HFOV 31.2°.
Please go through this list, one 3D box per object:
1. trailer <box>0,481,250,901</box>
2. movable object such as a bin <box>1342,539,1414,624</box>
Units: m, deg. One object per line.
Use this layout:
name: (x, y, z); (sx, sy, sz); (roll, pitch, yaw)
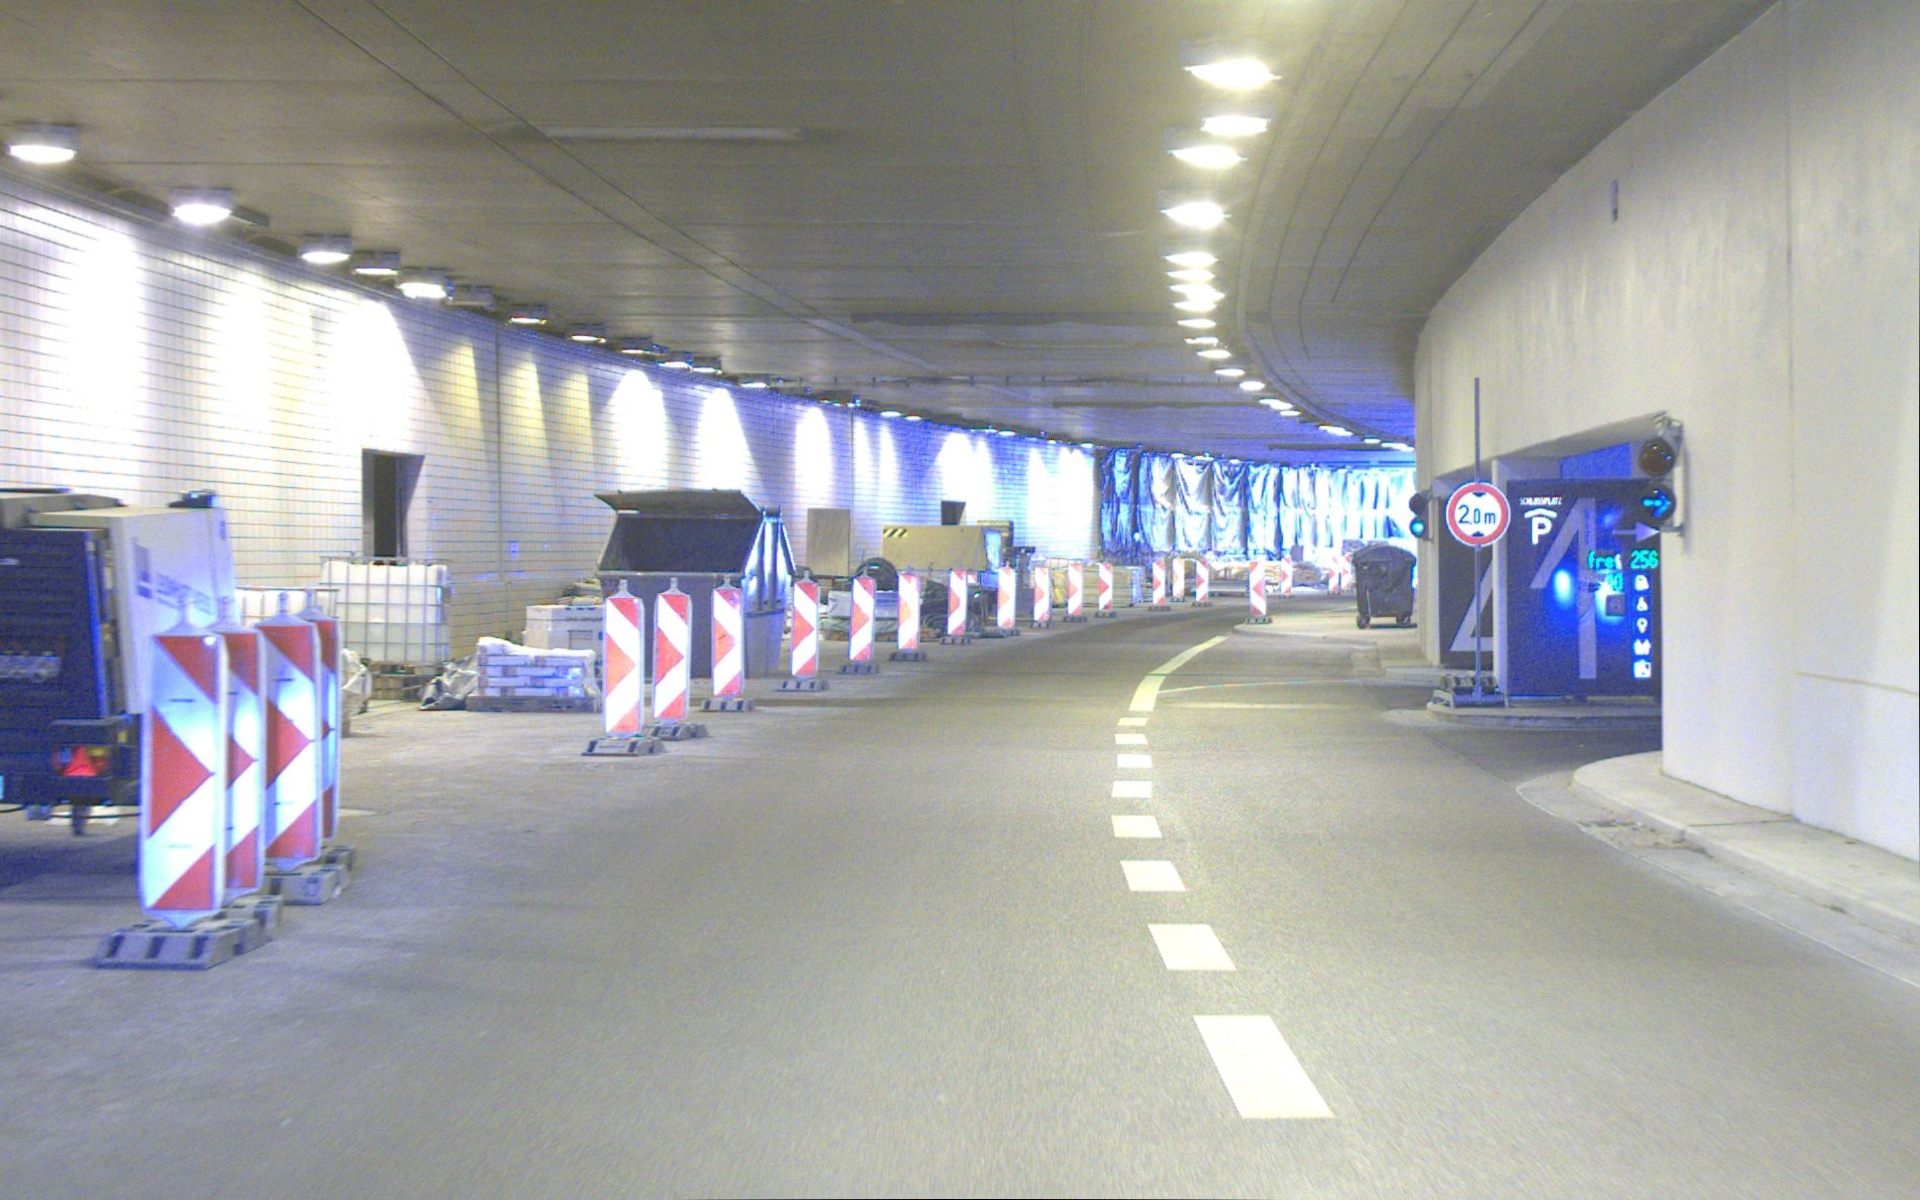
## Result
trailer: (-4.440, 0.367, 16.169); (1.580, 1.792, 2.939); (1, 0, 0)
movable object such as a bin: (7.401, -0.333, 60.771); (1.195, 1.455, 1.605); (-2, 0, 8)
